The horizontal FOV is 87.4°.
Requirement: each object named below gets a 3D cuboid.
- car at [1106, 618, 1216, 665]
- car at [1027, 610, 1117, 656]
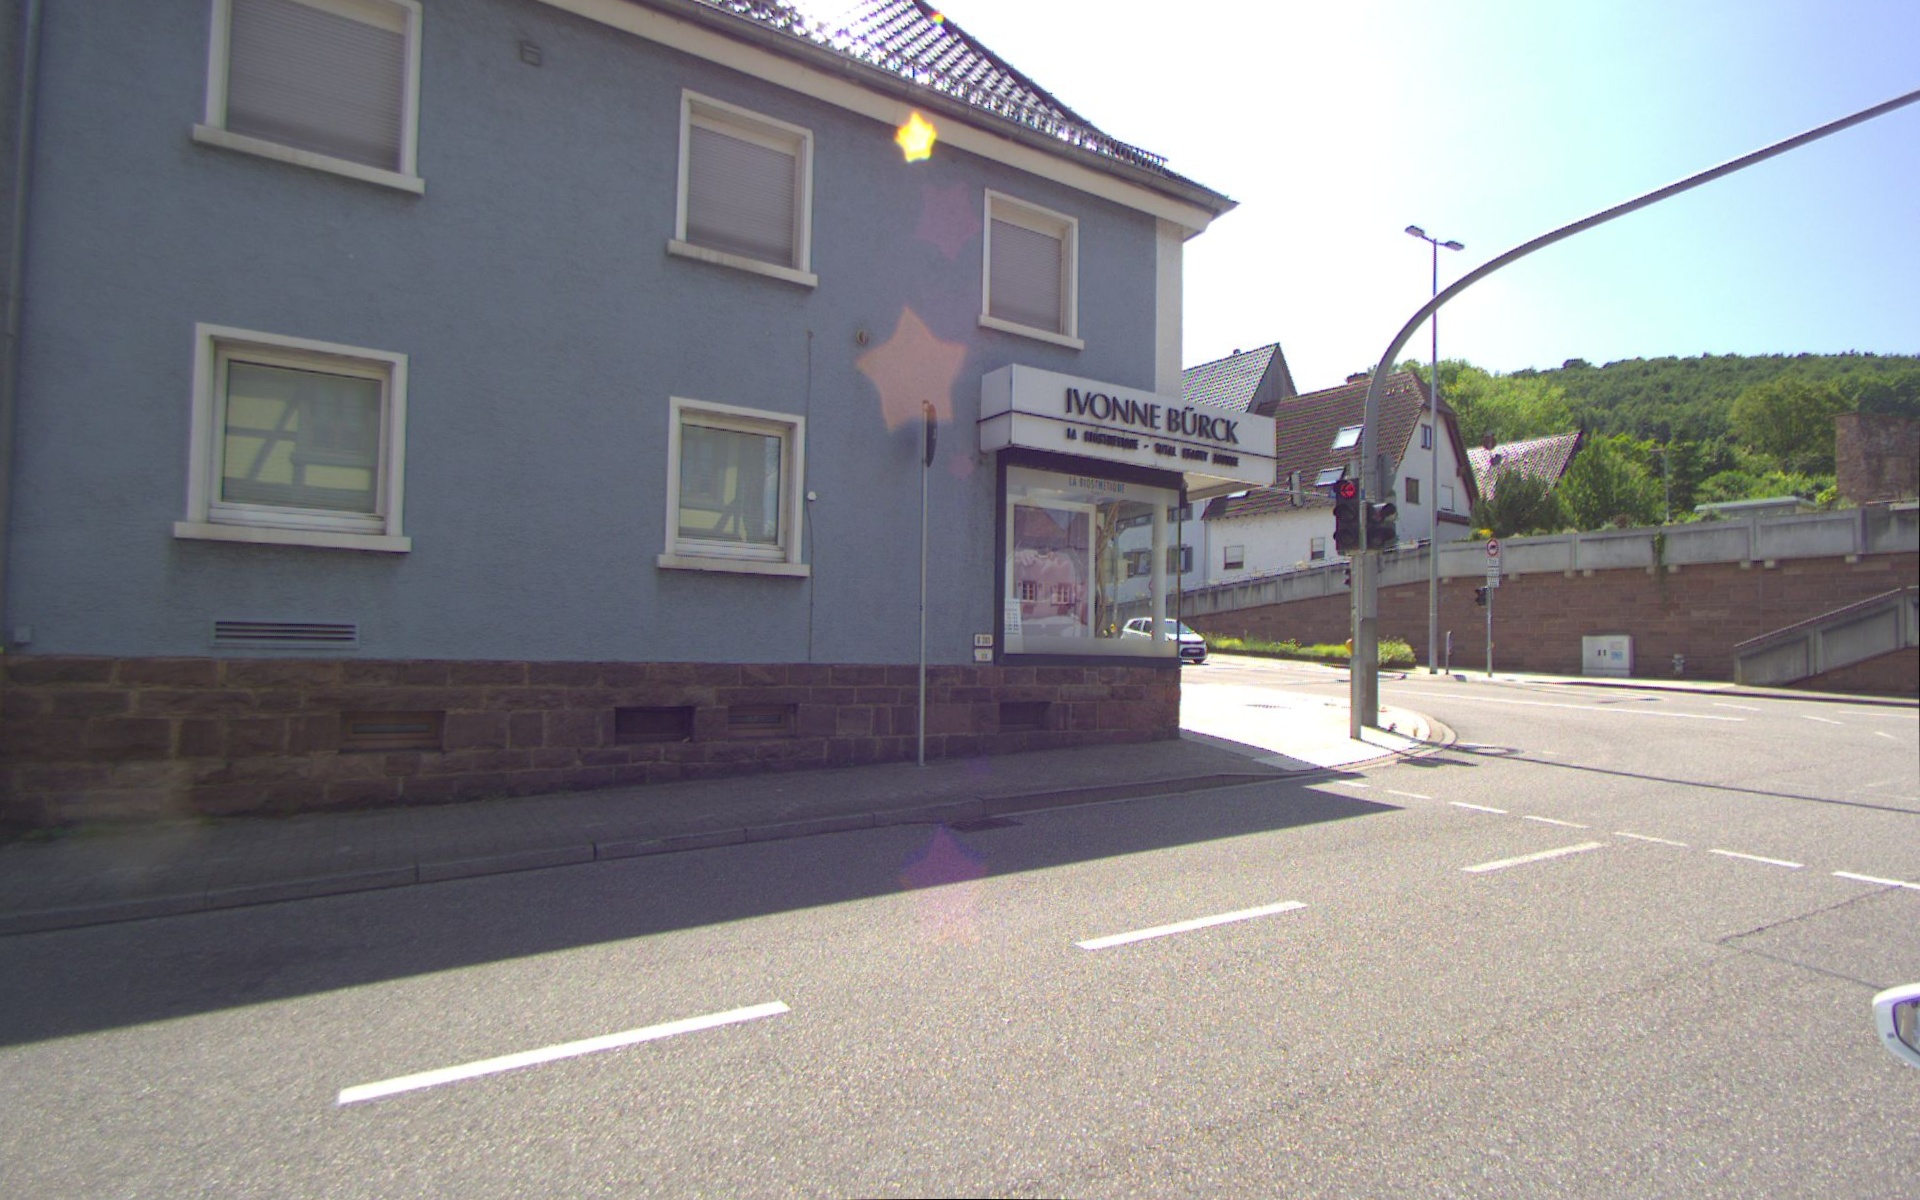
[{"bbox_3d":[6.986,1.409,35.340,1.839,1.499,3.975,0,0,-25],"label":"car"},{"bbox_3d":[4.428,1.263,40.297,1.838,1.737,3.976,0,0,-24],"label":"car"}]
